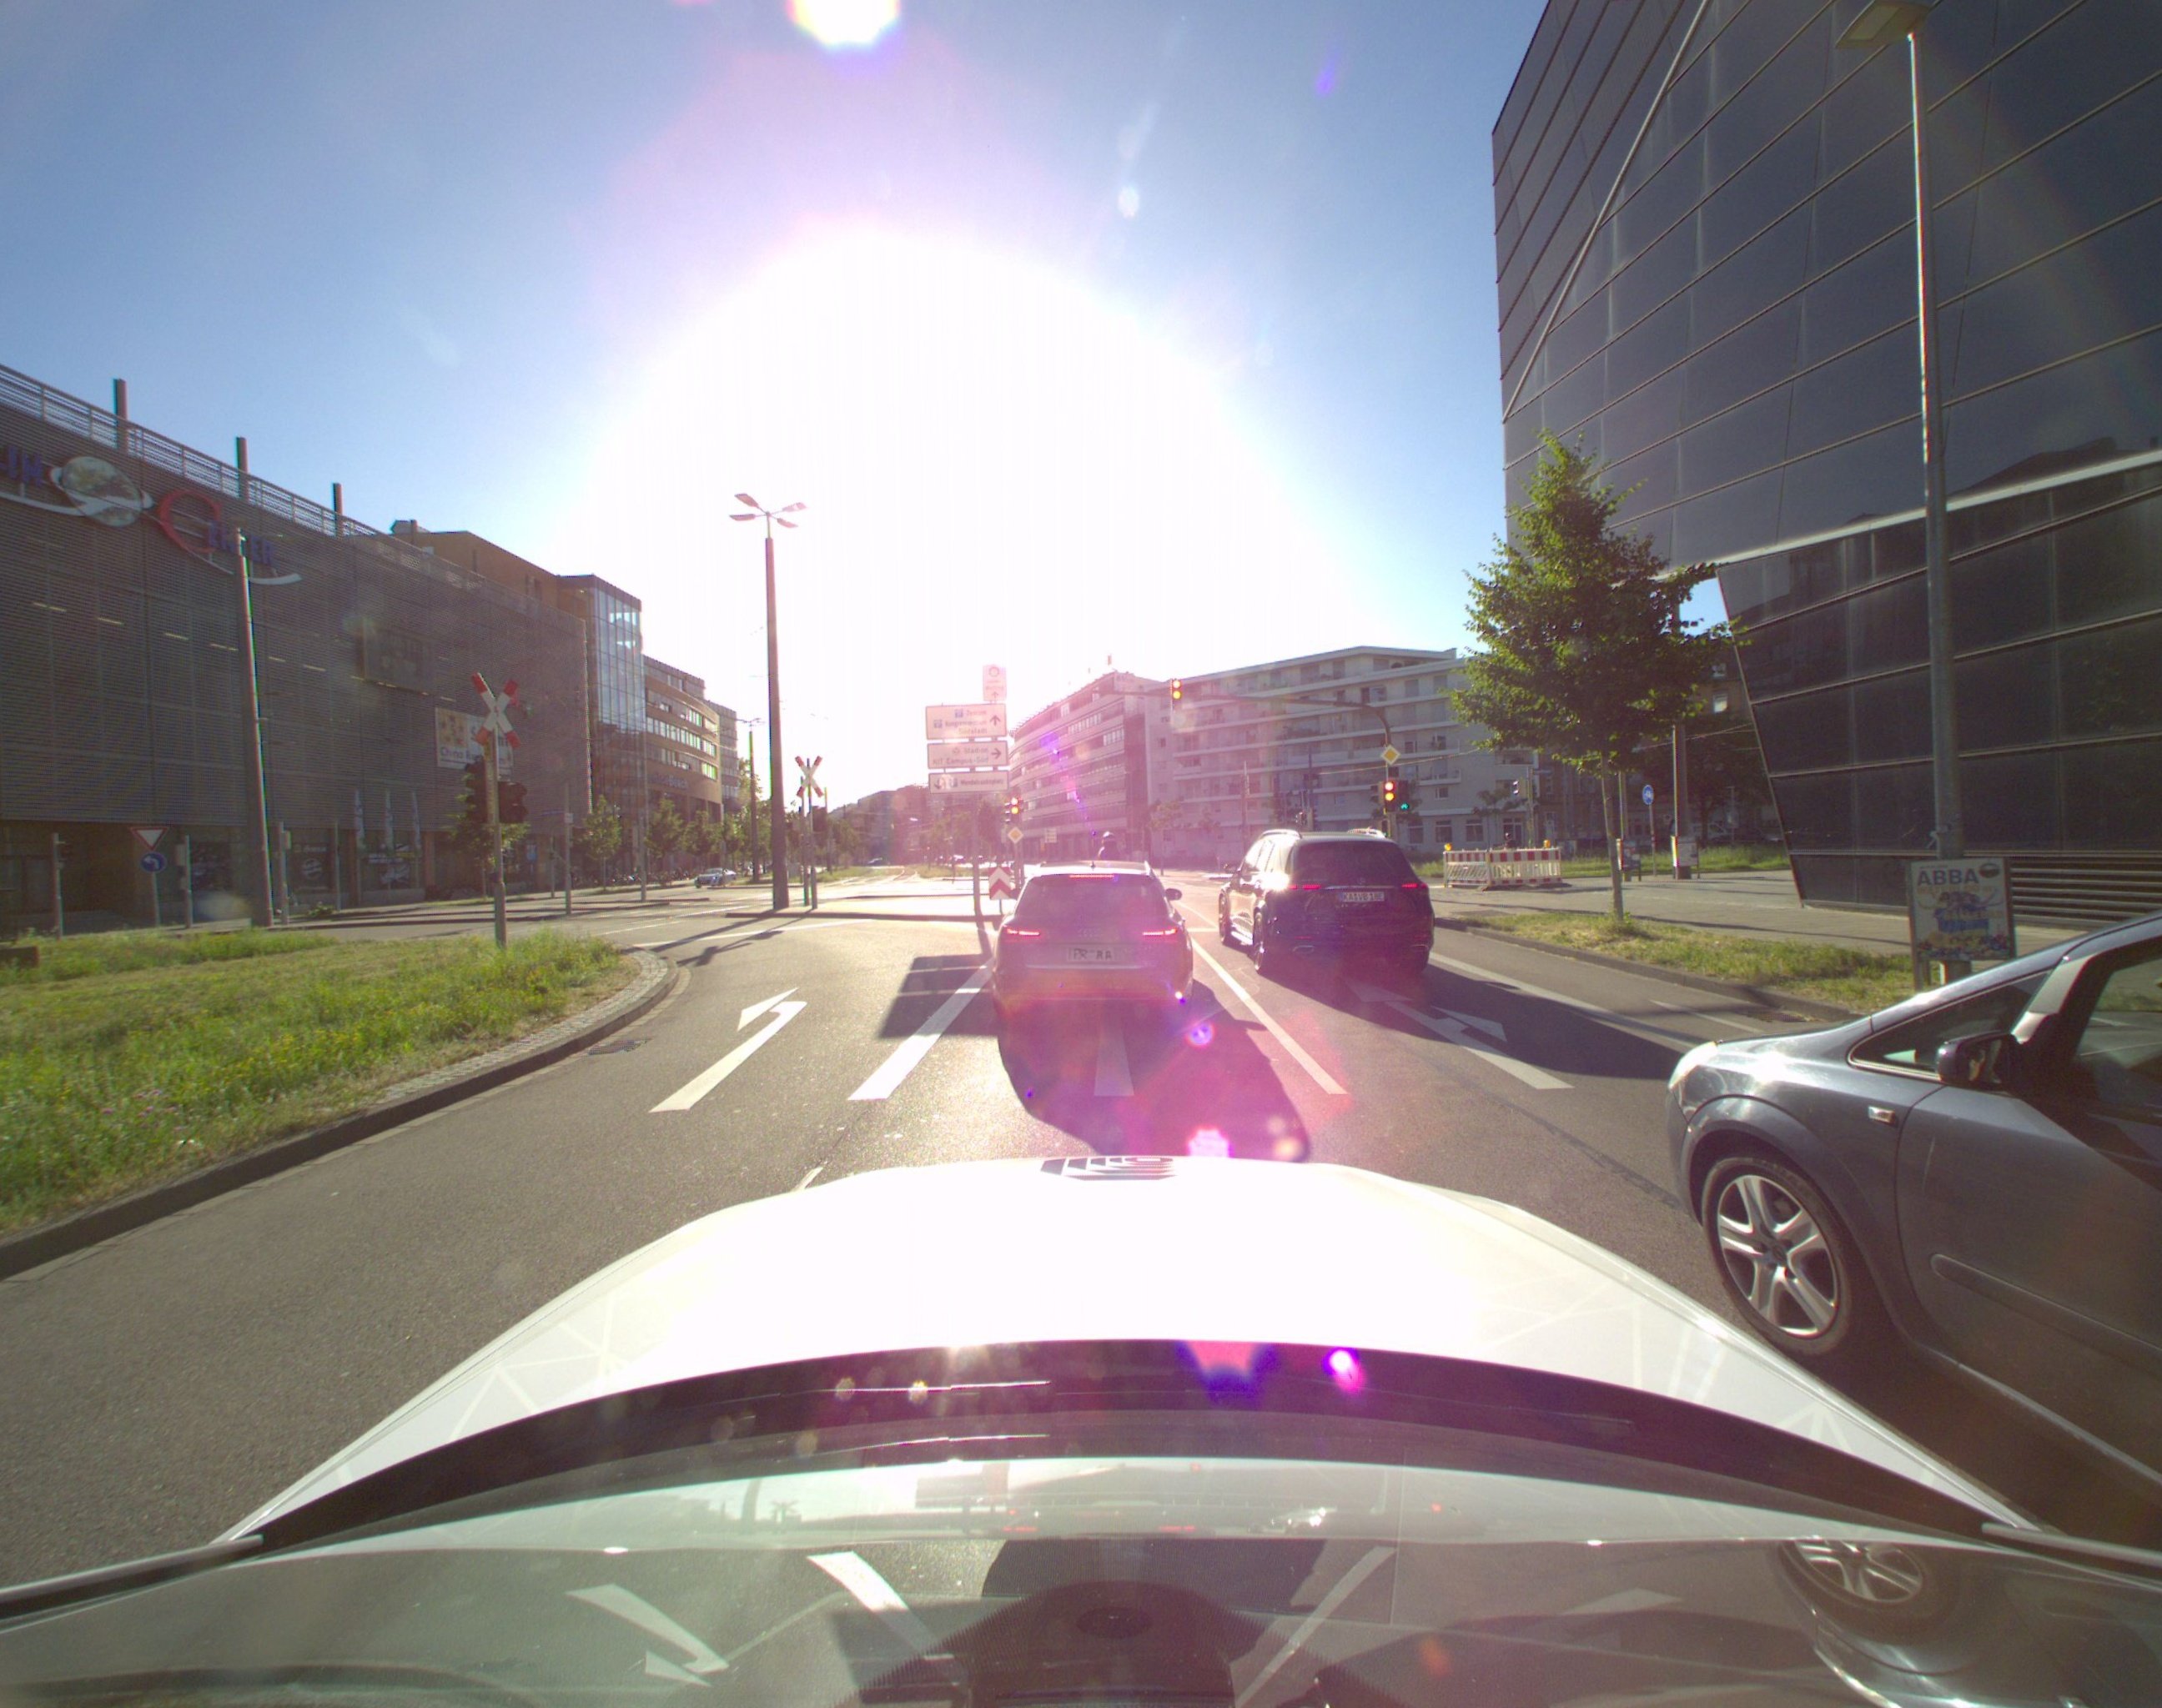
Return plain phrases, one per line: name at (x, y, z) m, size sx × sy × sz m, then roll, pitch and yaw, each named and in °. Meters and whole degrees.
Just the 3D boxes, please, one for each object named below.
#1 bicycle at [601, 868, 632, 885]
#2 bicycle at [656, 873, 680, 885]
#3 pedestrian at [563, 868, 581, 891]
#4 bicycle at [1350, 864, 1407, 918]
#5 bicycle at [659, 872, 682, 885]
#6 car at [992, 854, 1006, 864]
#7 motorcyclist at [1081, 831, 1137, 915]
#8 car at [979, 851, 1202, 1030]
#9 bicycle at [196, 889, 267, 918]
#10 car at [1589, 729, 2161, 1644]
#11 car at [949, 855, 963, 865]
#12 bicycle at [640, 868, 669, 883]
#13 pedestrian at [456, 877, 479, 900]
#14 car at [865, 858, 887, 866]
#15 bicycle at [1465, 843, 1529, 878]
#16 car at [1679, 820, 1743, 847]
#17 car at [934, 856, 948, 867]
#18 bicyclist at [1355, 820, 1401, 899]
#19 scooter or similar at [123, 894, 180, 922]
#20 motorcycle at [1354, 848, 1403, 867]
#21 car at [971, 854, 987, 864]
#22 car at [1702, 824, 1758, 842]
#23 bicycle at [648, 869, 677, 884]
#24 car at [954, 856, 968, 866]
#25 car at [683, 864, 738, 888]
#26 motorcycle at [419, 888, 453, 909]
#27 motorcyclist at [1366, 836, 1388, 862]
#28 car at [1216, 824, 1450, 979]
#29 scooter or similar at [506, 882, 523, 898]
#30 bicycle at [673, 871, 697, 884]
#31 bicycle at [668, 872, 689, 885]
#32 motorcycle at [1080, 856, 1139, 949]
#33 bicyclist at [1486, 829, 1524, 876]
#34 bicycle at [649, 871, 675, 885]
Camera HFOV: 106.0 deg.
bicycle at (-43.843, 2.150, 76.903) m, size 2.355 × 1.433 × 1.079 m, roll -3°, pitch -1°, yaw 10°
bicycle at (-47.226, 2.816, 93.063) m, size 2.399 × 1.236 × 0.747 m, roll -3°, pitch -1°, yaw 10°
pedestrian at (-42.376, 2.097, 67.780) m, size 0.823 × 1.824 × 0.905 m, roll -3°, pitch -1°, yaw 3°
bicycle at (6.416, 0.779, 17.679) m, size 0.651 × 1.043 × 1.932 m, roll -2°, pitch 1°, yaw 5°
bicycle at (-47.346, 2.819, 93.916) m, size 2.231 × 1.433 × 0.720 m, roll -3°, pitch -1°, yaw 10°
car at (-15.225, 0.917, 150.678) m, size 1.996 × 1.838 × 3.981 m, roll -3°, pitch -1°, yaw -14°
motorcyclist at (0.458, 0.309, 13.455) m, size 0.859 × 1.326 × 0.681 m, roll -2°, pitch 0°, yaw 1°
car at (0.132, 0.710, 8.739) m, size 1.835 × 1.454 × 4.001 m, roll 0°, pitch 0°, yaw 1°
bicycle at (-41.813, 2.412, 40.153) m, size 0.796 × 1.220 × 2.418 m, roll -2°, pitch 0°, yaw 5°
car at (2.861, 0.617, 1.160) m, size 1.739 × 1.696 × 4.262 m, roll 0°, pitch 0°, yaw 2°
car at (-22.579, 1.123, 146.766) m, size 1.998 × 1.706 × 3.977 m, roll -3°, pitch -1°, yaw -16°
bicycle at (-43.427, 2.210, 82.863) m, size 2.546 × 1.433 × 0.907 m, roll -3°, pitch -1°, yaw 10°
pedestrian at (-44.233, 2.483, 58.692) m, size 0.984 × 1.566 × 0.829 m, roll -3°, pitch -1°, yaw 1°
car at (-45.110, 1.748, 179.109) m, size 4.420 × 1.640 × 1.983 m, roll -2°, pitch 0°, yaw -26°
bicycle at (15.581, 0.240, 30.558) m, size 0.769 × 1.262 × 2.065 m, roll -2°, pitch 0°, yaw -24°
car at (58.975, -1.939, 76.269) m, size 4.543 × 2.310 × 2.013 m, roll -2°, pitch 0°, yaw 40°
car at (-25.162, 1.331, 146.168) m, size 1.998 × 1.706 × 3.977 m, roll -3°, pitch -1°, yaw -16°
bicyclist at (6.432, 0.113, 17.675) m, size 0.651 × 1.642 × 0.973 m, roll -2°, pitch 0°, yaw 5°
scooter or similar at (-43.706, 2.512, 38.324) m, size 0.790 × 1.207 × 1.575 m, roll -3°, pitch -1°, yaw 2°
motorcycle at (17.319, 0.209, 47.490) m, size 2.441 × 1.000 × 1.173 m, roll -2°, pitch 0°, yaw 4°
car at (-17.332, 0.811, 138.330) m, size 1.998 × 1.596 × 3.976 m, roll -3°, pitch -1°, yaw -17°
car at (54.229, -1.741, 68.097) m, size 1.981 × 1.354 × 4.012 m, roll -3°, pitch -1°, yaw 11°
bicycle at (-43.758, 2.393, 85.120) m, size 2.546 × 1.433 × 0.907 m, roll -3°, pitch -1°, yaw 10°
car at (-20.761, 1.141, 140.748) m, size 1.996 × 1.596 × 3.981 m, roll -3°, pitch -1°, yaw -14°
car at (-27.853, 1.619, 61.392) m, size 1.987 × 1.545 × 4.529 m, roll -2°, pitch 0°, yaw -1°
motorcycle at (-41.750, 2.851, 52.736) m, size 0.673 × 1.238 × 1.894 m, roll -3°, pitch -1°, yaw 1°
motorcyclist at (17.253, -0.290, 47.490) m, size 0.920 × 1.481 × 1.173 m, roll -2°, pitch 0°, yaw 5°
car at (3.174, 0.515, 11.256) m, size 1.995 × 1.715 × 4.374 m, roll 0°, pitch 0°, yaw 2°
scooter or similar at (-42.914, 2.727, 61.716) m, size 0.419 × 1.110 × 1.153 m, roll -3°, pitch -1°, yaw 2°
bicycle at (-47.233, 2.806, 97.128) m, size 2.405 × 1.433 × 0.791 m, roll -3°, pitch -1°, yaw 10°
bicycle at (-47.395, 2.846, 95.956) m, size 2.125 × 1.433 × 0.761 m, roll -3°, pitch -1°, yaw 10°
motorcycle at (0.463, 0.751, 13.446) m, size 0.859 × 1.393 × 1.894 m, roll -2°, pitch 0°, yaw 2°
bicyclist at (15.726, -0.062, 30.194) m, size 0.769 × 1.706 × 0.923 m, roll -2°, pitch 0°, yaw -24°
bicycle at (-47.112, 2.702, 91.632) m, size 2.591 × 1.433 × 0.773 m, roll -3°, pitch -1°, yaw 10°
